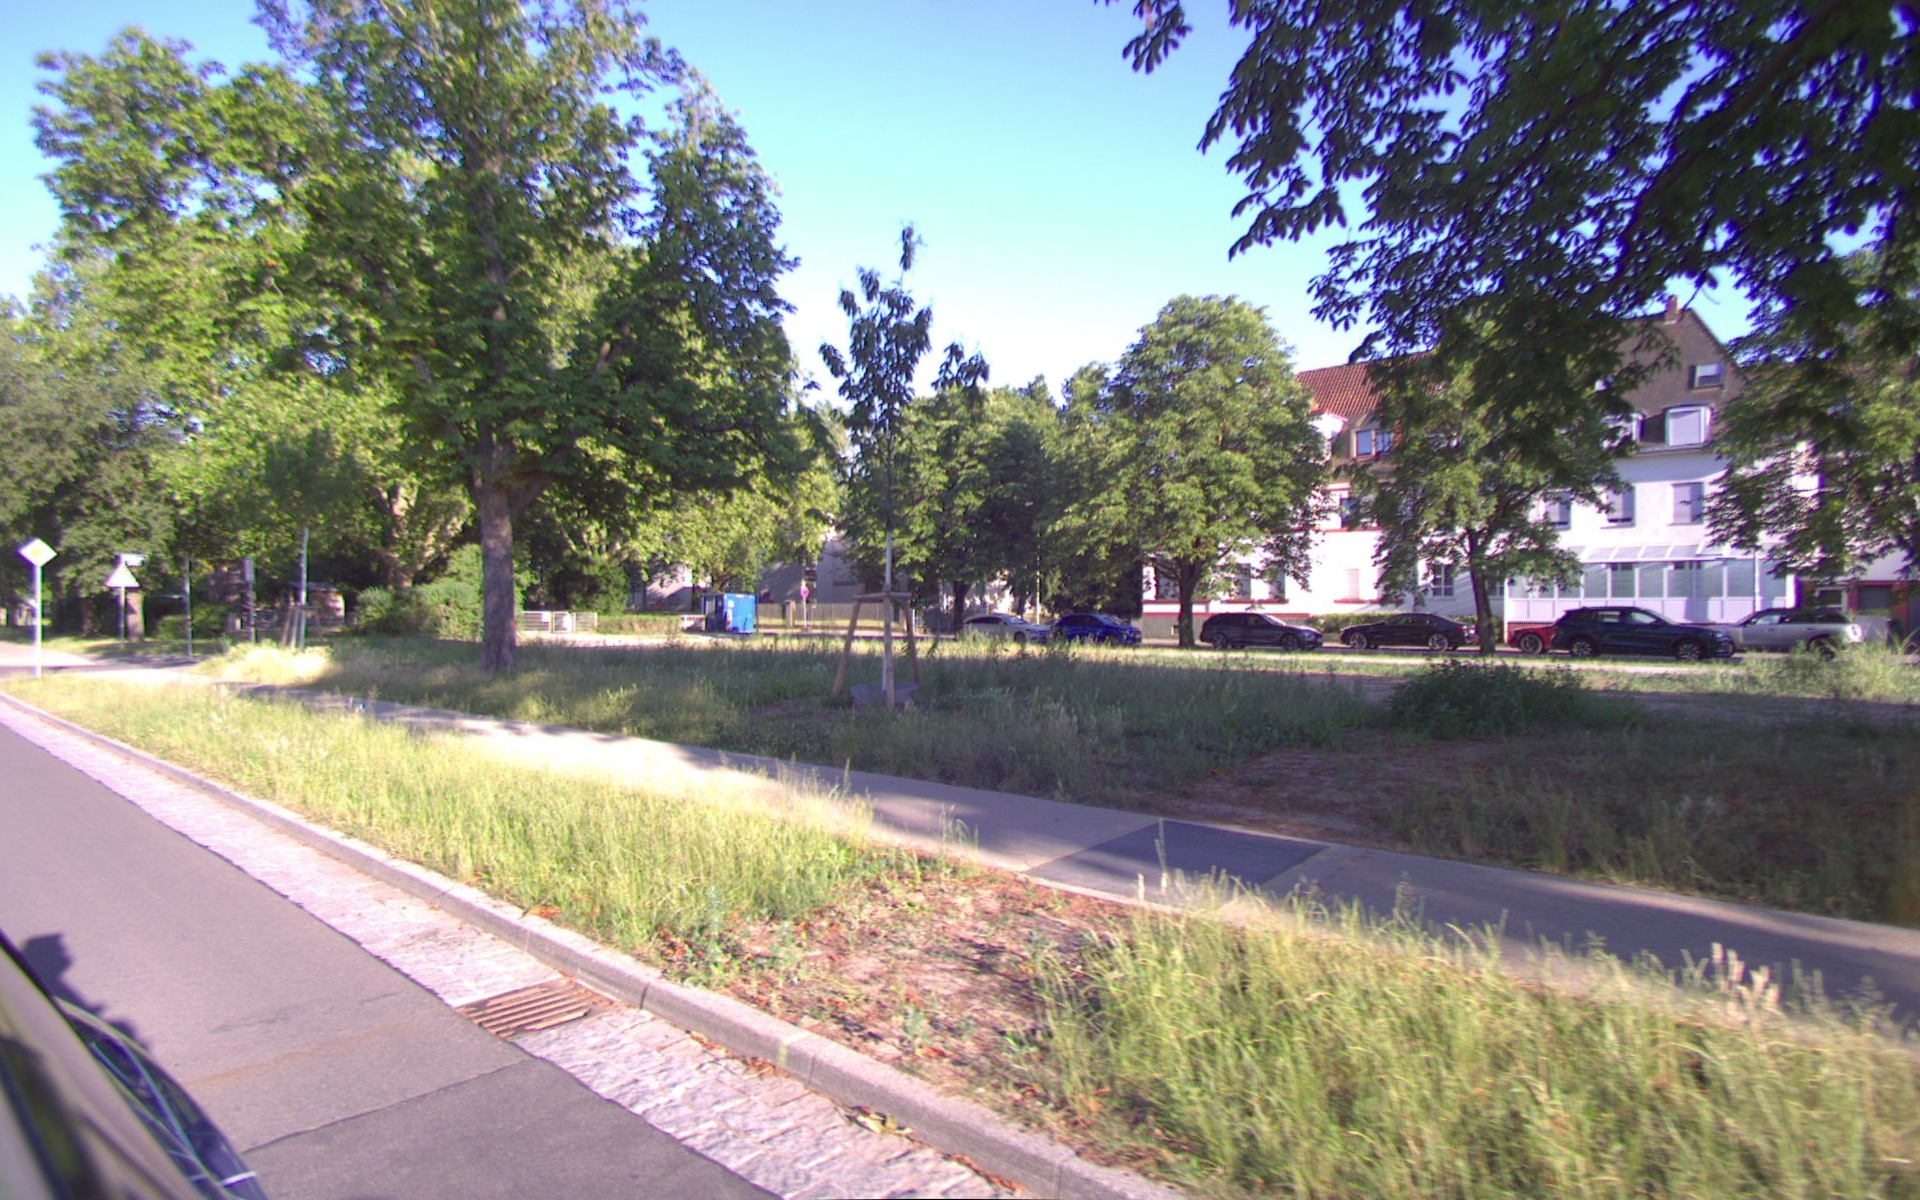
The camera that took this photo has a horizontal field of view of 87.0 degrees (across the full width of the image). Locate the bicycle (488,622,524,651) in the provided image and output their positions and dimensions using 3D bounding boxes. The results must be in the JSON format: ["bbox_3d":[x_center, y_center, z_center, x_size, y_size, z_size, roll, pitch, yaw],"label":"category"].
[{"bbox_3d":[-19.330,1.535,43.130,0.417,1.196,1.579,0,0,18],"label":"bicycle"}]

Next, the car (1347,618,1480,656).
[{"bbox_3d":[17.640,1.415,39.490,4.480,1.342,1.553,0,1,43],"label":"car"}]

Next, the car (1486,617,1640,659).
[{"bbox_3d":[21.327,1.311,35.902,4.478,1.342,1.553,0,1,43],"label":"car"}]

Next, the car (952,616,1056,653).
[{"bbox_3d":[1.992,1.548,46.876,4.751,1.609,1.676,-1,0,39],"label":"car"}]

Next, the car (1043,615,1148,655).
[{"bbox_3d":[5.780,1.480,43.486,4.216,1.609,1.676,-1,0,39],"label":"car"}]

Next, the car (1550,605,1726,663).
[{"bbox_3d":[20.346,0.978,30.469,4.218,1.609,1.675,-1,0,41],"label":"car"}]

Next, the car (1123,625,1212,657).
[{"bbox_3d":[9.710,1.885,47.525,3.852,1.342,1.553,0,1,43],"label":"car"}]

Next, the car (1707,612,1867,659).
[{"bbox_3d":[26.086,1.077,31.985,3.852,1.342,1.553,0,1,43],"label":"car"}]

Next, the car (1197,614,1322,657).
[{"bbox_3d":[11.288,1.304,38.256,4.217,1.487,1.676,-1,0,40],"label":"car"}]
